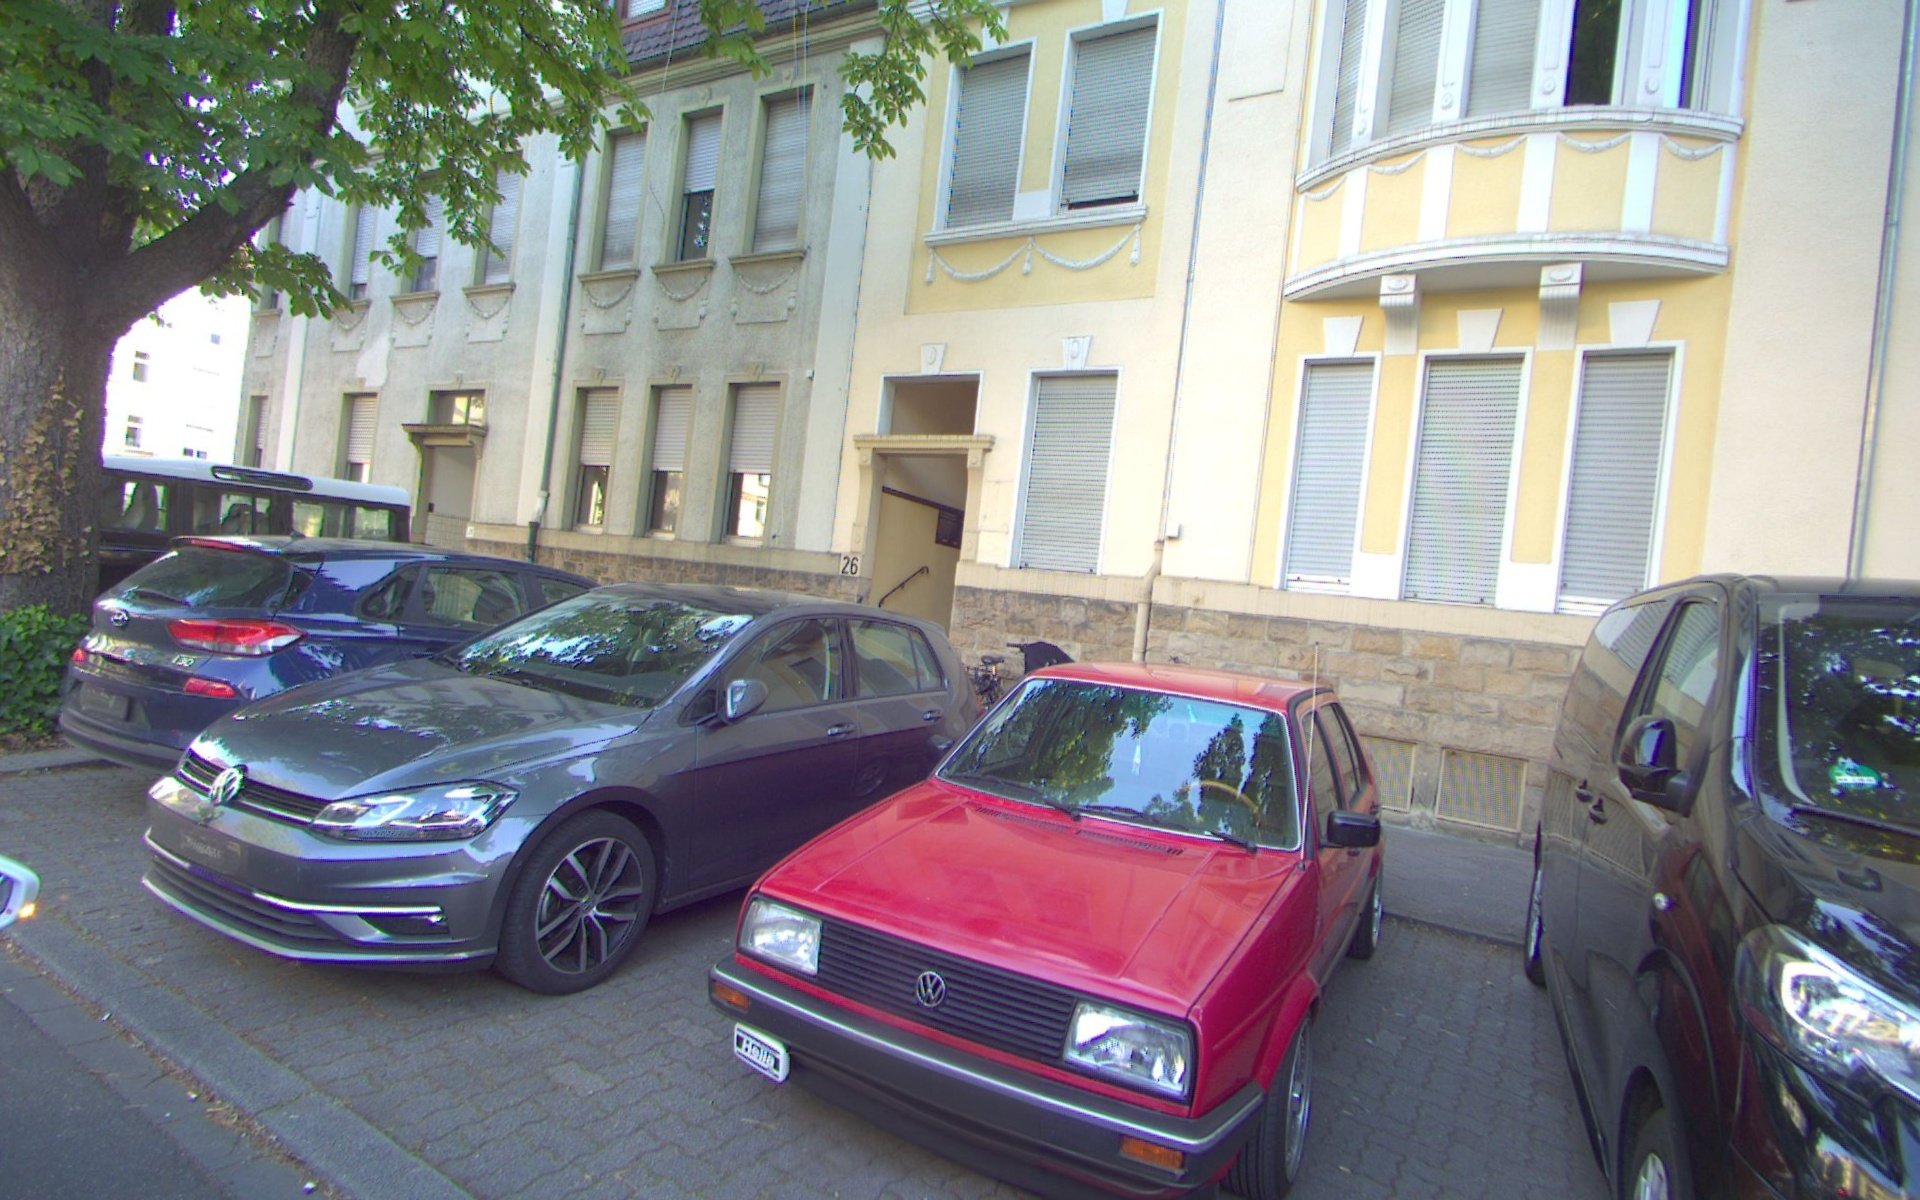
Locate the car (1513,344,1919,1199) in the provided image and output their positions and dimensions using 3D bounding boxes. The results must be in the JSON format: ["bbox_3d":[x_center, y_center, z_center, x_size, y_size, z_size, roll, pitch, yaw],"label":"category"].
[{"bbox_3d":[2.847,0.869,2.880,1.864,1.898,4.759,6,0,27],"label":"car"}]

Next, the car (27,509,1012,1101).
[{"bbox_3d":[-1.437,0.620,4.819,1.693,1.470,4.060,6,0,28],"label":"car"}]

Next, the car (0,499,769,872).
[{"bbox_3d":[-3.090,0.423,6.202,1.679,1.470,3.730,6,0,28],"label":"car"}]

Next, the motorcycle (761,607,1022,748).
[{"bbox_3d":[-0.795,0.771,10.787,2.822,1.087,0.694,7,2,31],"label":"motorcycle"}]

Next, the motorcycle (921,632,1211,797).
[{"bbox_3d":[0.951,0.992,9.398,2.439,1.087,0.959,7,2,32],"label":"motorcycle"}]

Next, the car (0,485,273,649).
[{"bbox_3d":[-9.992,-0.389,10.940,1.679,1.589,3.730,6,0,28],"label":"car"}]

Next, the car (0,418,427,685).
[{"bbox_3d":[-7.598,-0.371,9.239,1.671,2.061,4.473,6,0,28],"label":"car"}]

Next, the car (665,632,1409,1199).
[{"bbox_3d":[0.870,0.944,4.307,1.601,1.332,4.144,6,0,27],"label":"car"}]
